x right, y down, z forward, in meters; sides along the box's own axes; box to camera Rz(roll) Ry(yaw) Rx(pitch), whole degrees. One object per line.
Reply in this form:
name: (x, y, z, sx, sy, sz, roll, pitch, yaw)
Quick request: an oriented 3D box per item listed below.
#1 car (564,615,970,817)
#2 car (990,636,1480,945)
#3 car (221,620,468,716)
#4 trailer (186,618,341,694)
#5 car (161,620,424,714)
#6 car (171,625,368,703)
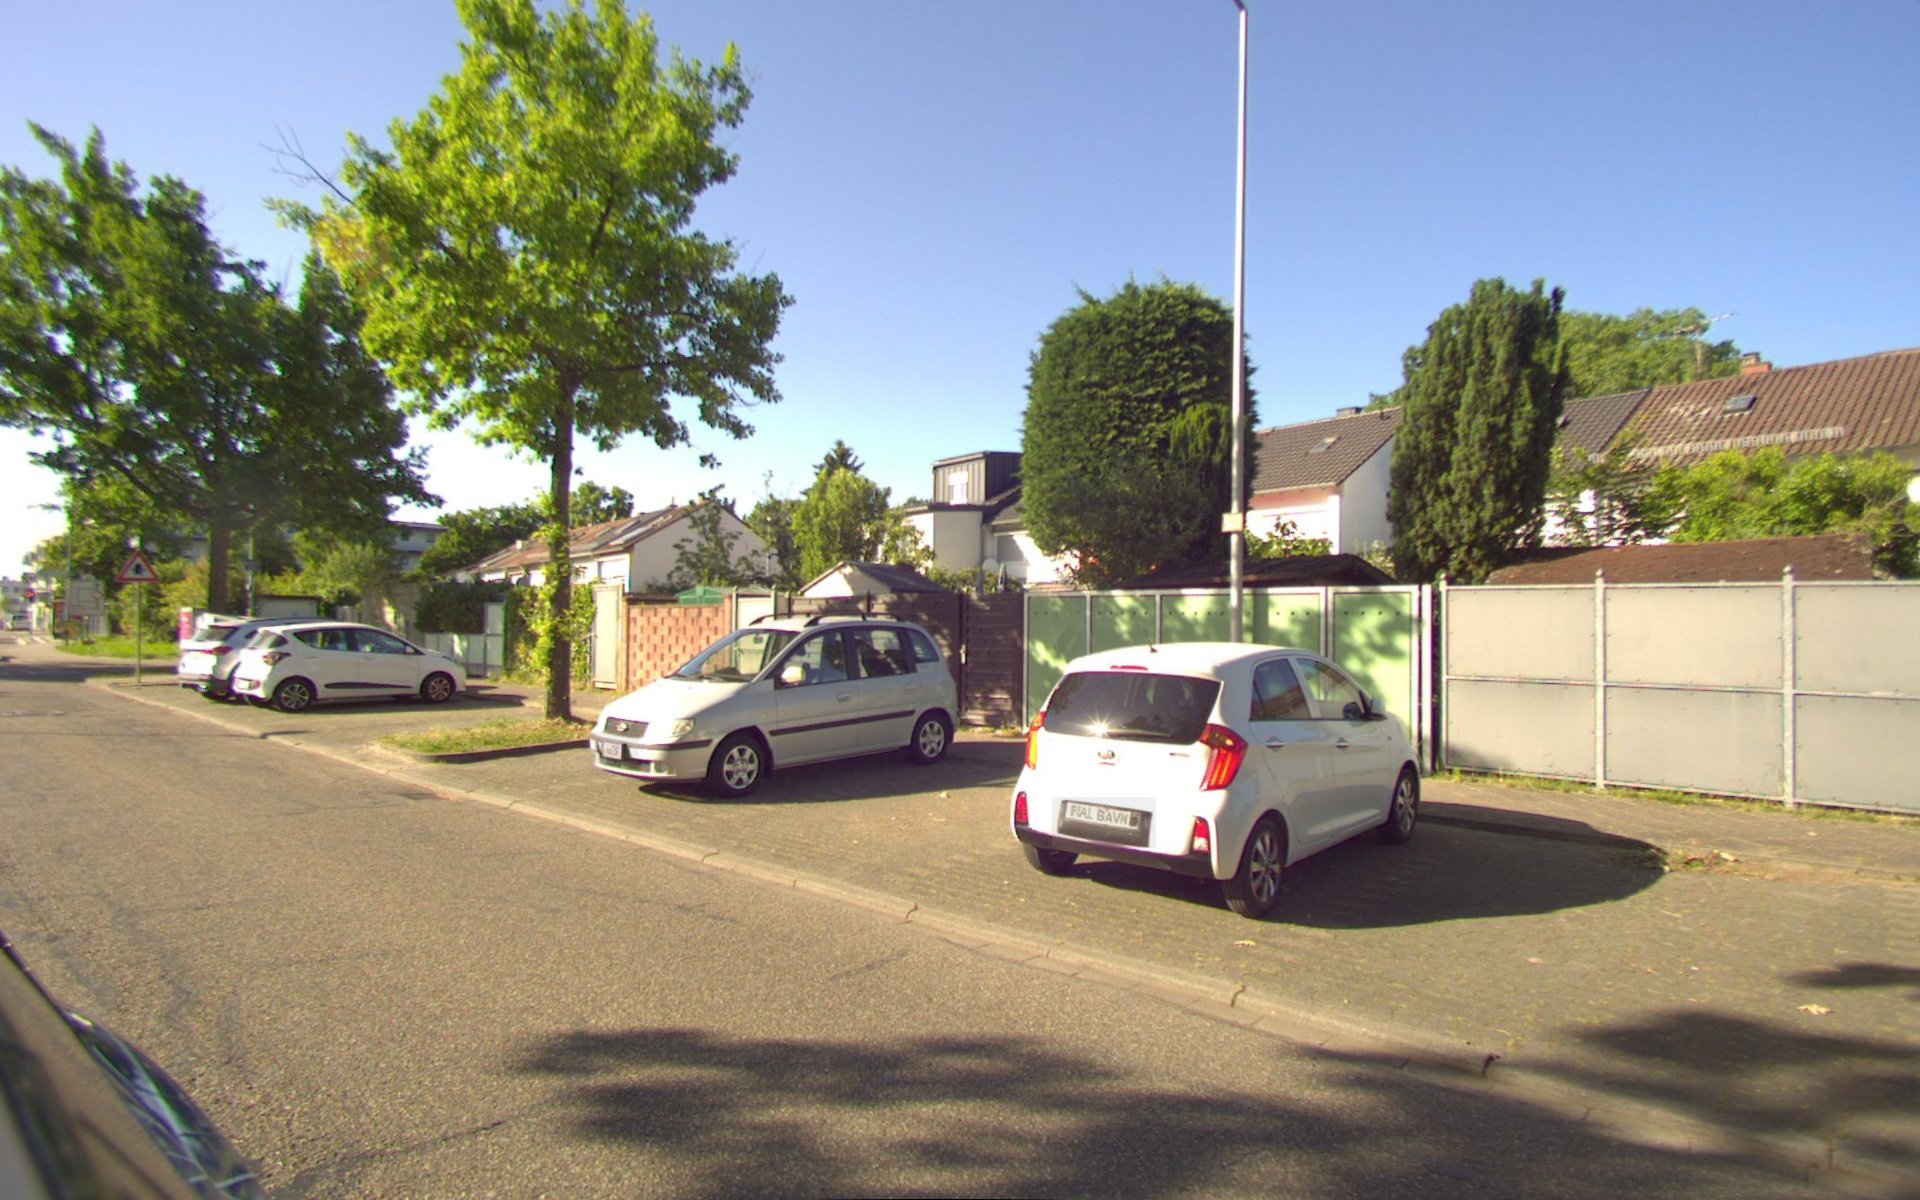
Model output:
car: (-1.829, 1.006, 10.494, 1.706, 1.626, 3.897, -2, -1, 42)
car: (2.160, 1.028, 7.167, 1.794, 1.526, 3.959, -1, -2, 41)
car: (-11.118, 1.142, 18.436, 1.706, 1.507, 3.480, 0, 0, 38)
trailer: (-16.491, 1.271, 24.036, 1.297, 1.659, 2.734, 1, 0, 36)
car: (-13.064, 1.214, 20.016, 1.917, 1.586, 3.920, 0, 0, 34)
car: (-14.935, 1.324, 21.982, 1.615, 1.489, 3.260, 0, 0, 42)
